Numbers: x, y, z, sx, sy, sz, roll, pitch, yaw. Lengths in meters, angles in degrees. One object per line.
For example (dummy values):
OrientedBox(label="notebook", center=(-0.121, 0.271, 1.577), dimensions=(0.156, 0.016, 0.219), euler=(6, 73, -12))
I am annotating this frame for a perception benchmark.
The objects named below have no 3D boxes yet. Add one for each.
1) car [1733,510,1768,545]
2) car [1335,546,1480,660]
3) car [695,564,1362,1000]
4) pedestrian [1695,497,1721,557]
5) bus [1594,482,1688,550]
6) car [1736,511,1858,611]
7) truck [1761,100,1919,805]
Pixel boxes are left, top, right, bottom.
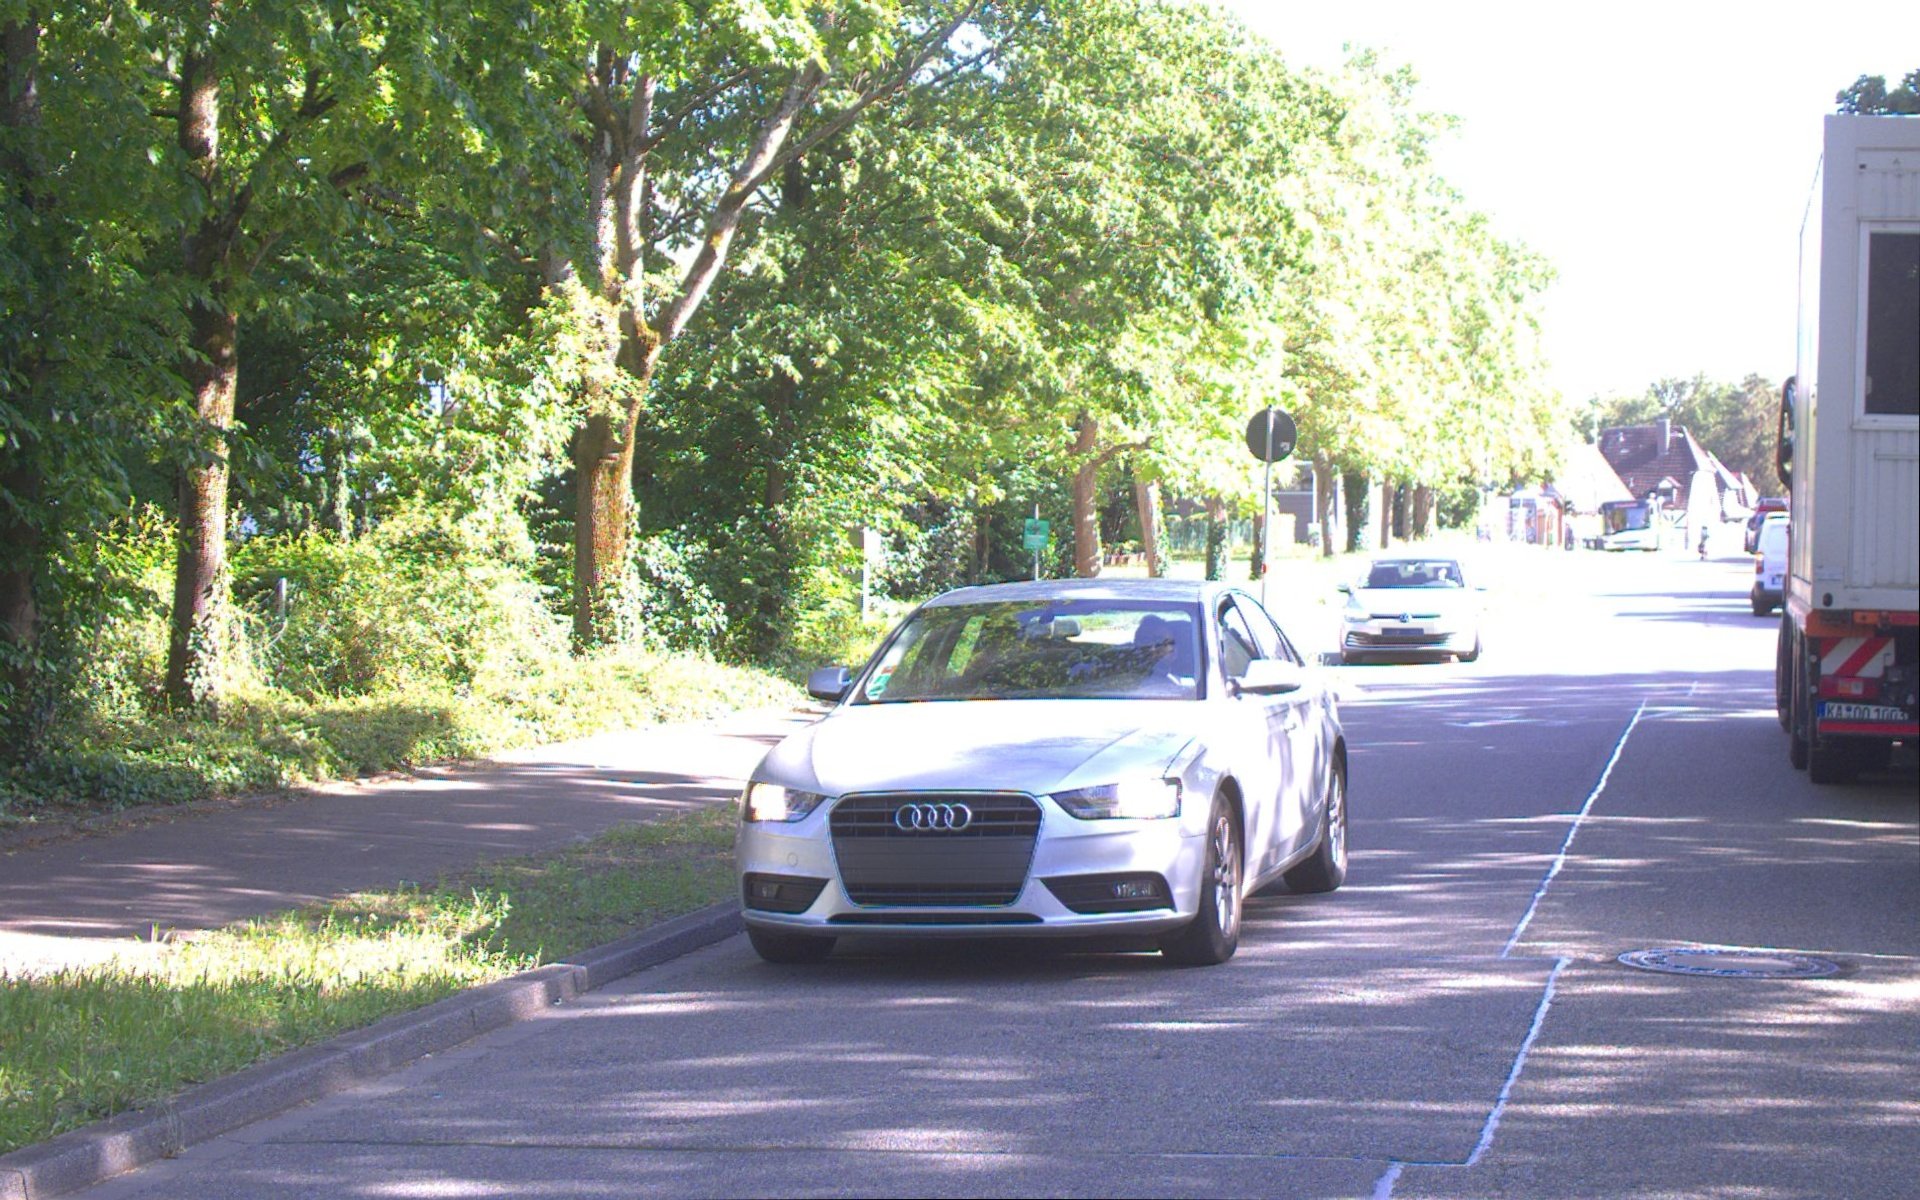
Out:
OrientedBox(label="car", center=(42.364, -3.887, 184.288), dimensions=(1.782, 1.802, 3.998), euler=(0, 1, 12))
OrientedBox(label="car", center=(6.073, 0.006, 46.338), dimensions=(1.806, 1.415, 3.958), euler=(-1, 1, 9))
OrientedBox(label="car", center=(0.448, 0.608, 13.822), dimensions=(1.788, 1.412, 4.102), euler=(-1, 1, 14))
OrientedBox(label="pedestrian", center=(26.700, -2.595, 122.722), dimensions=(0.753, 2.106, 0.798), euler=(2, 1, 16))
OrientedBox(label="bus", center=(35.026, -4.291, 176.432), dimensions=(4.068, 3.337, 9.794), euler=(-1, 1, 15))
OrientedBox(label="car", center=(15.928, -0.769, 65.590), dimensions=(1.947, 1.836, 3.999), euler=(1, 1, 10))
OrientedBox(label="truck", center=(7.253, -0.923, 24.333), dimensions=(2.774, 3.982, 10.343), euler=(2, 2, 12))
